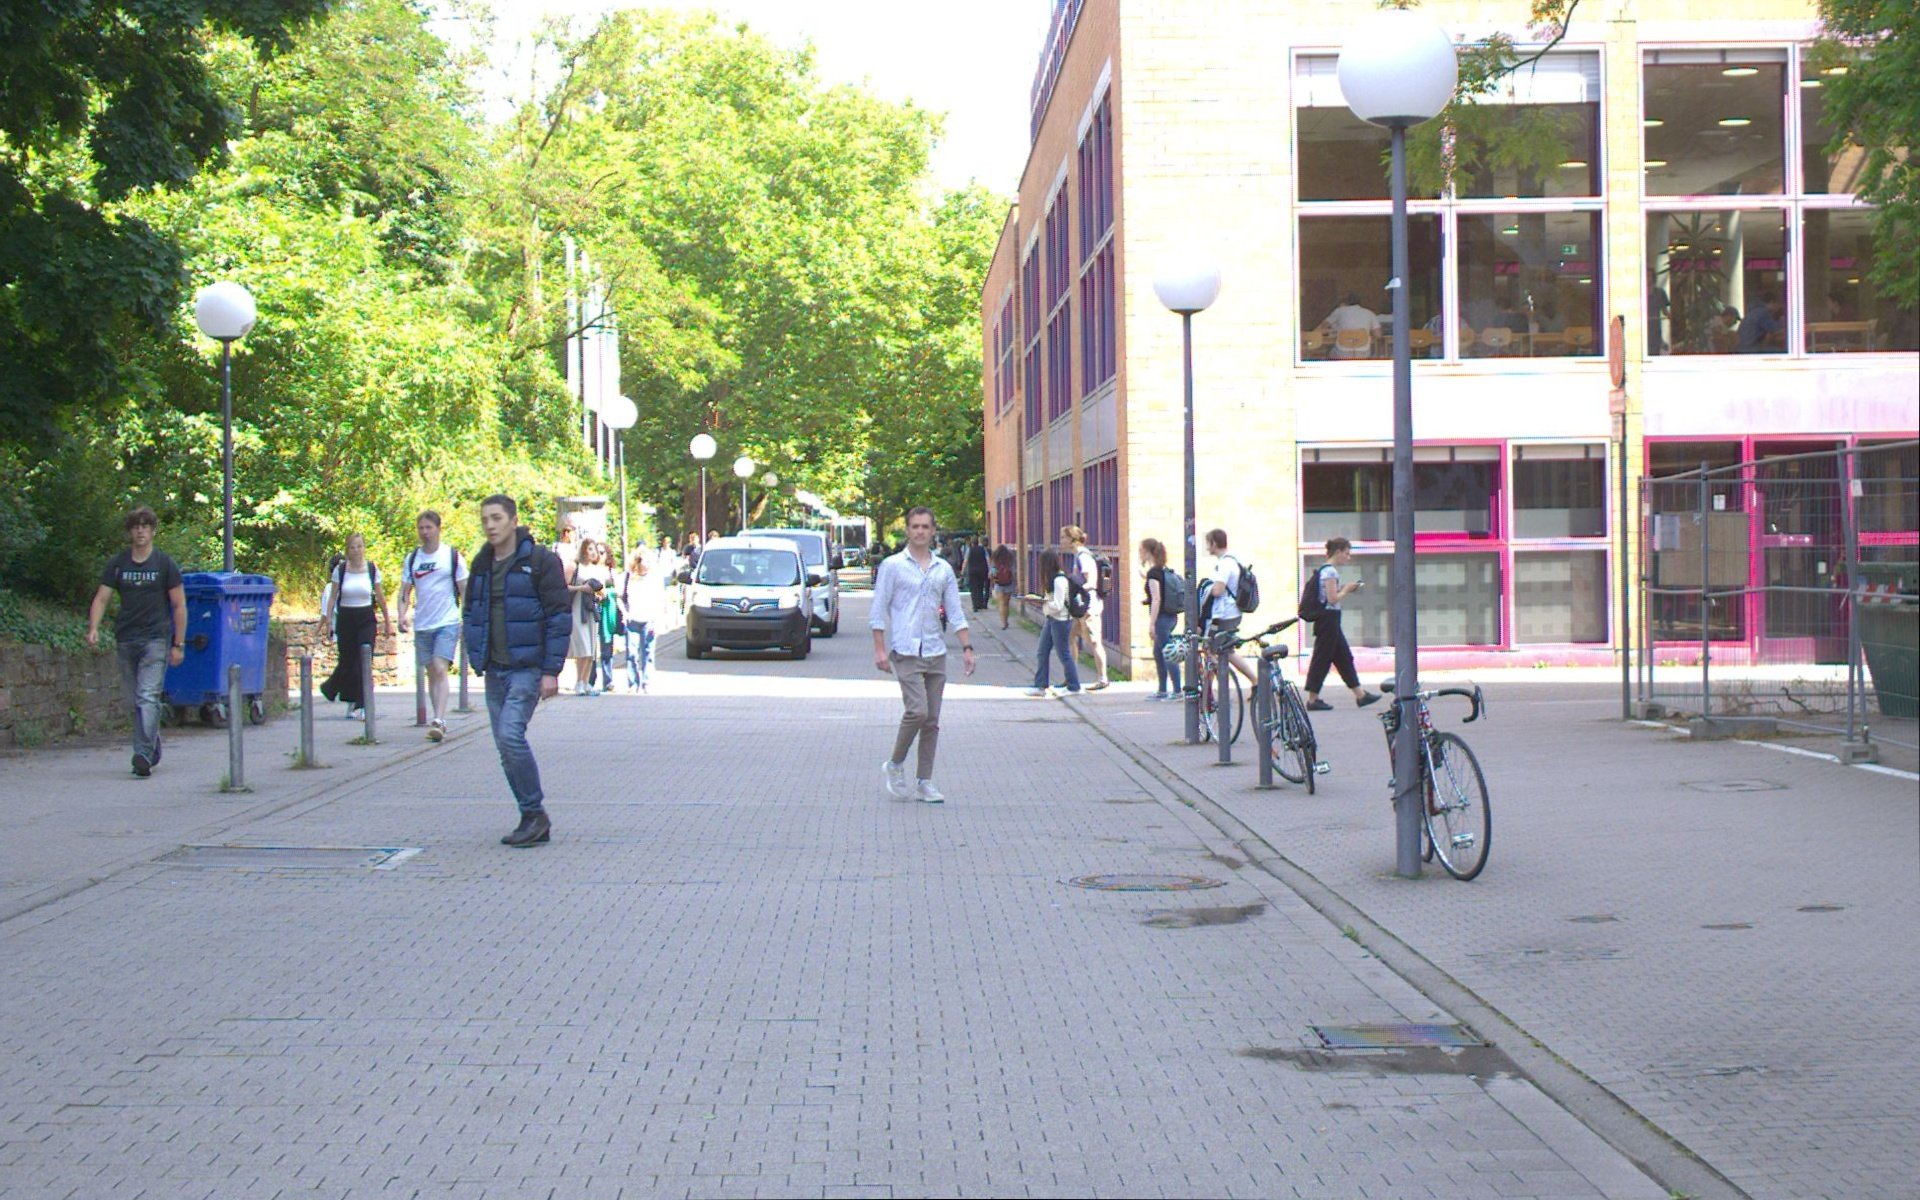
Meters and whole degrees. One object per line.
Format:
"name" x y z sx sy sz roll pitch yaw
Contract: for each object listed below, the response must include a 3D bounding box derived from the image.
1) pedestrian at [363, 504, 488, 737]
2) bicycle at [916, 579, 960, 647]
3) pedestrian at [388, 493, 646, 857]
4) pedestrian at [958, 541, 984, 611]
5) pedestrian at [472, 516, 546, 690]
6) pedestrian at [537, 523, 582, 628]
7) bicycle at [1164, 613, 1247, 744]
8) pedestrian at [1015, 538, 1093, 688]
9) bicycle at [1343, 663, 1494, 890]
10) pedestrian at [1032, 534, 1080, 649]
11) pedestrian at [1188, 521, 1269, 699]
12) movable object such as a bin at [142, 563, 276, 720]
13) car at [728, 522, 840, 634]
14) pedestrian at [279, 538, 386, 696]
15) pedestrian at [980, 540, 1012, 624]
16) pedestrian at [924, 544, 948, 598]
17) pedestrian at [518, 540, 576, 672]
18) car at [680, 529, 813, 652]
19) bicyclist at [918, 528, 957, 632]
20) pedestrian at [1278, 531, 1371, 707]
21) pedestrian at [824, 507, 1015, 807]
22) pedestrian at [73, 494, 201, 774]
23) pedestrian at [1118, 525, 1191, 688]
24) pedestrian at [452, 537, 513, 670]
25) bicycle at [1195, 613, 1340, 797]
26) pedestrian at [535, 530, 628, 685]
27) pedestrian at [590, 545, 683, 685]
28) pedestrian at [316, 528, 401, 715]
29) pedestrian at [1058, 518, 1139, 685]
"pedestrian" -4.389 0.166 28.286 0.724 1.875 1.082 1 0 7
"bicycle" -0.362 0.209 56.556 0.587 1.080 1.908 0 1 -4
"pedestrian" -2.332 0.375 18.171 0.887 1.851 1.031 1 1 29
"pedestrian" 0.255 -0.579 82.805 0.586 1.667 0.817 -1 0 0
"pedestrian" -4.839 0.034 36.898 0.682 1.838 0.783 1 0 -1
"pedestrian" -7.061 -0.434 60.621 0.682 1.838 0.783 1 0 -1
"bicycle" 1.945 0.607 27.381 0.450 0.958 1.740 -3 1 -2
"pedestrian" 1.021 0.143 37.603 0.780 1.615 0.685 1 0 -3
"bicycle" 2.123 0.794 16.067 0.395 0.932 1.732 -2 1 -2
"pedestrian" 1.464 -0.129 52.376 0.682 1.741 0.783 1 0 -1
"pedestrian" 2.740 0.103 35.033 0.767 1.788 0.588 -1 0 7
"movable object such as a bin" -6.643 0.354 30.459 0.709 1.332 1.239 3 1 9
"car" -3.178 -0.427 62.960 1.883 1.967 5.215 0 1 -1
"pedestrian" -6.498 0.171 35.592 0.917 1.605 0.570 1 0 28
"pedestrian" 0.720 -0.360 68.684 0.586 1.667 0.699 -1 0 0
"pedestrian" -0.748 -0.890 106.887 0.725 1.667 0.748 -1 0 0
"pedestrian" -5.124 0.080 42.691 0.682 1.615 0.914 1 0 -6
"car" -3.150 -0.175 51.412 1.790 1.756 4.482 0 1 -1
"bicyclist" -0.377 -0.339 56.738 0.587 1.710 0.665 0 1 -4
"pedestrian" 3.463 0.180 32.637 0.852 1.646 0.588 1 0 7
"pedestrian" -0.267 0.341 21.722 0.783 1.839 1.118 1 1 -25
"pedestrian" -5.623 0.227 23.530 0.682 1.866 1.121 1 0 -6
"pedestrian" 2.030 0.070 35.828 0.697 1.667 0.588 -1 0 7
"pedestrian" -5.884 0.042 42.391 0.682 1.615 0.979 1 0 -6
"bicycle" 1.938 0.643 21.869 0.708 1.089 1.749 0 1 -2
"pedestrian" -4.128 0.083 37.496 0.886 1.667 0.559 1 0 7
"pedestrian" -3.611 0.163 38.460 0.886 1.537 0.742 1 0 7
"pedestrian" -5.624 0.196 32.179 0.682 1.722 1.002 0 0 -5
"pedestrian" 1.546 0.014 38.379 0.825 1.838 0.685 1 0 -3
